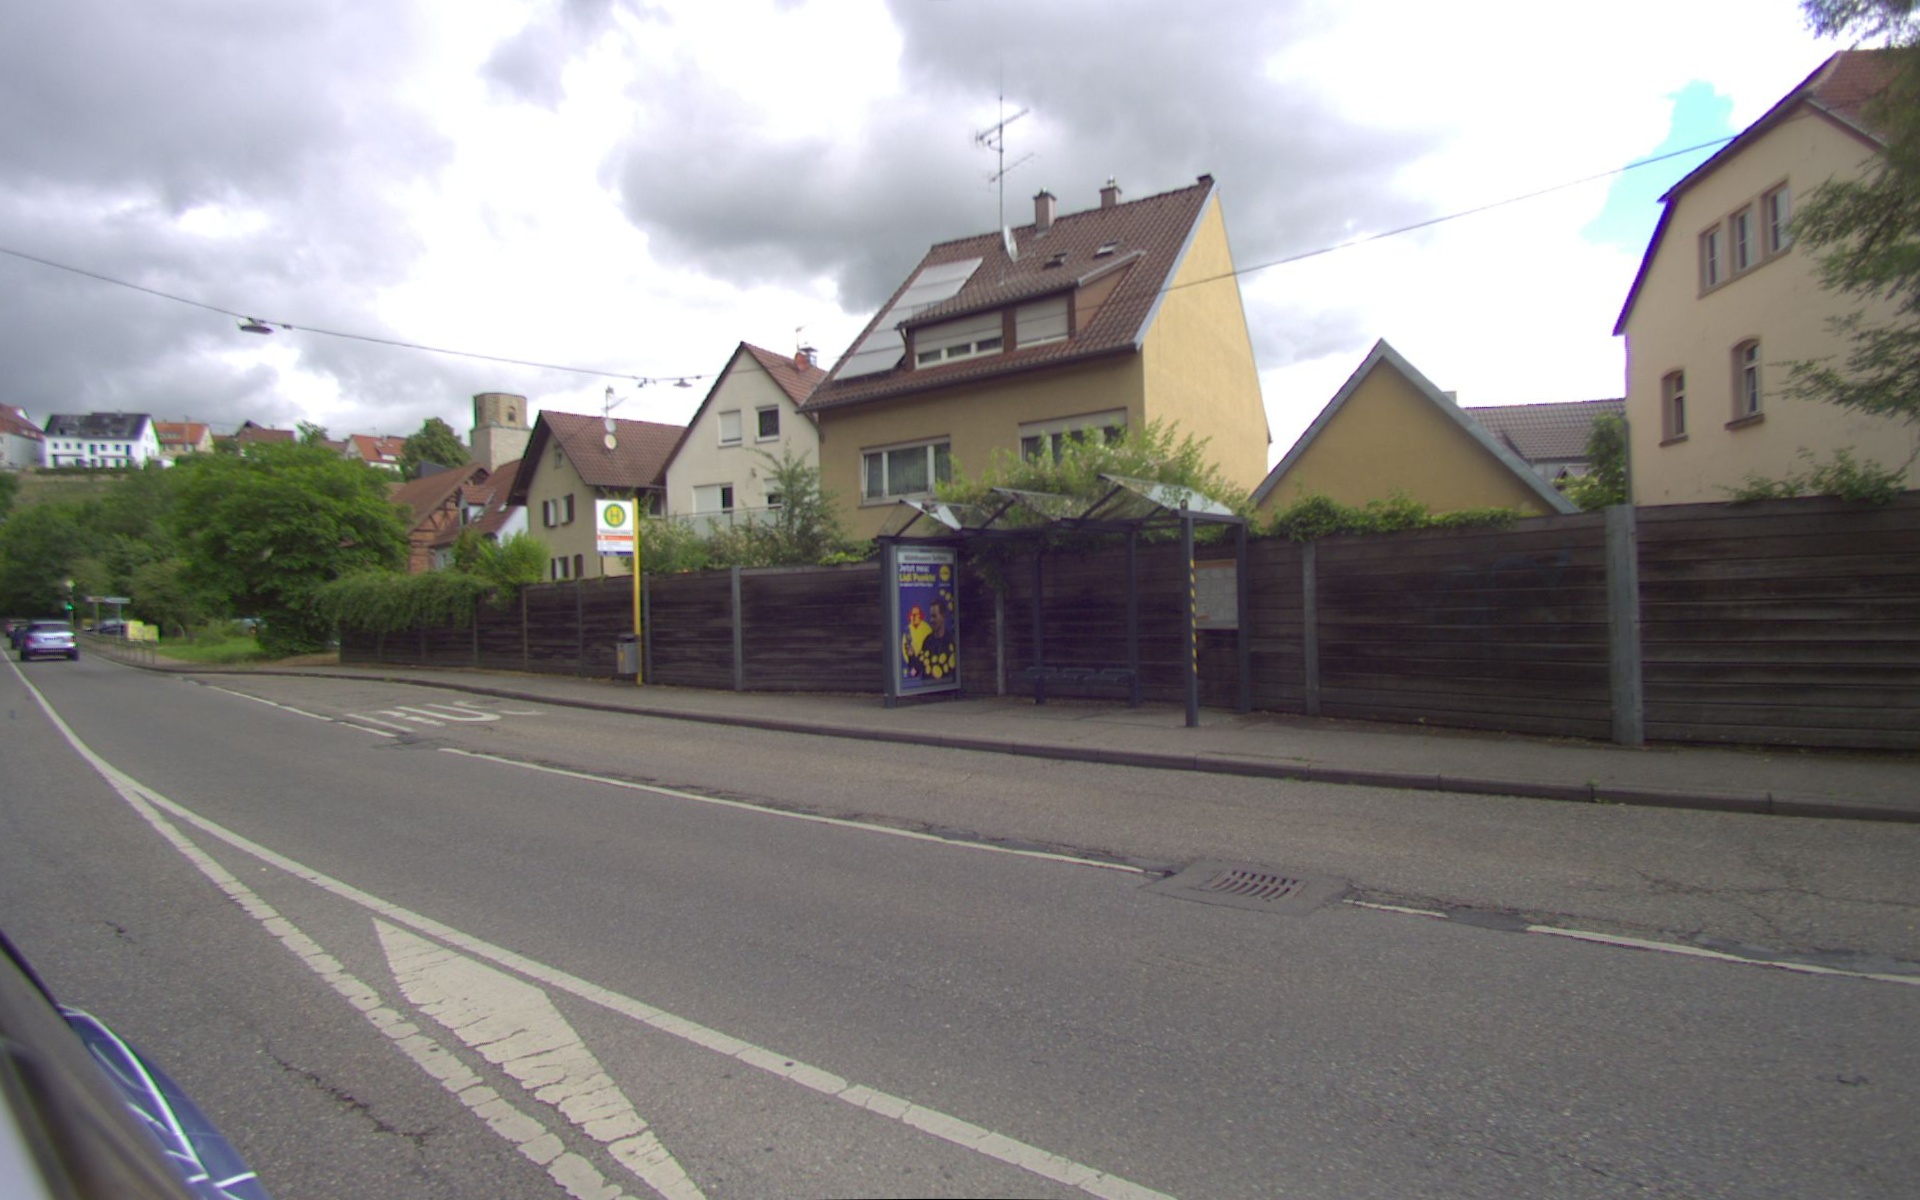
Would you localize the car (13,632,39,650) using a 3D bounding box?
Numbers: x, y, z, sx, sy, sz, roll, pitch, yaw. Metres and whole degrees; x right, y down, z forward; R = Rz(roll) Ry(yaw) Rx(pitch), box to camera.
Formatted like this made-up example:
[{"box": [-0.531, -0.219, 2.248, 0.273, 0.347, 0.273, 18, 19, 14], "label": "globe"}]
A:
[{"box": [-84.694, 3.704, 91.756, 1.684, 1.523, 4.003, 1, -2, -44], "label": "car"}]

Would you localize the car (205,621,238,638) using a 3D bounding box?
[{"box": [-60.450, 2.385, 82.810, 1.626, 1.355, 4.154, 1, -2, -45], "label": "car"}]

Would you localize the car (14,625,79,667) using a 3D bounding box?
[{"box": [-40.760, 2.031, 45.109, 4.694, 1.737, 1.913, -2, -2, 45], "label": "car"}]

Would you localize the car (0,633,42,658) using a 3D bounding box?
[{"box": [-58.247, 2.834, 62.762, 4.100, 1.480, 1.697, -2, -2, 44], "label": "car"}]
